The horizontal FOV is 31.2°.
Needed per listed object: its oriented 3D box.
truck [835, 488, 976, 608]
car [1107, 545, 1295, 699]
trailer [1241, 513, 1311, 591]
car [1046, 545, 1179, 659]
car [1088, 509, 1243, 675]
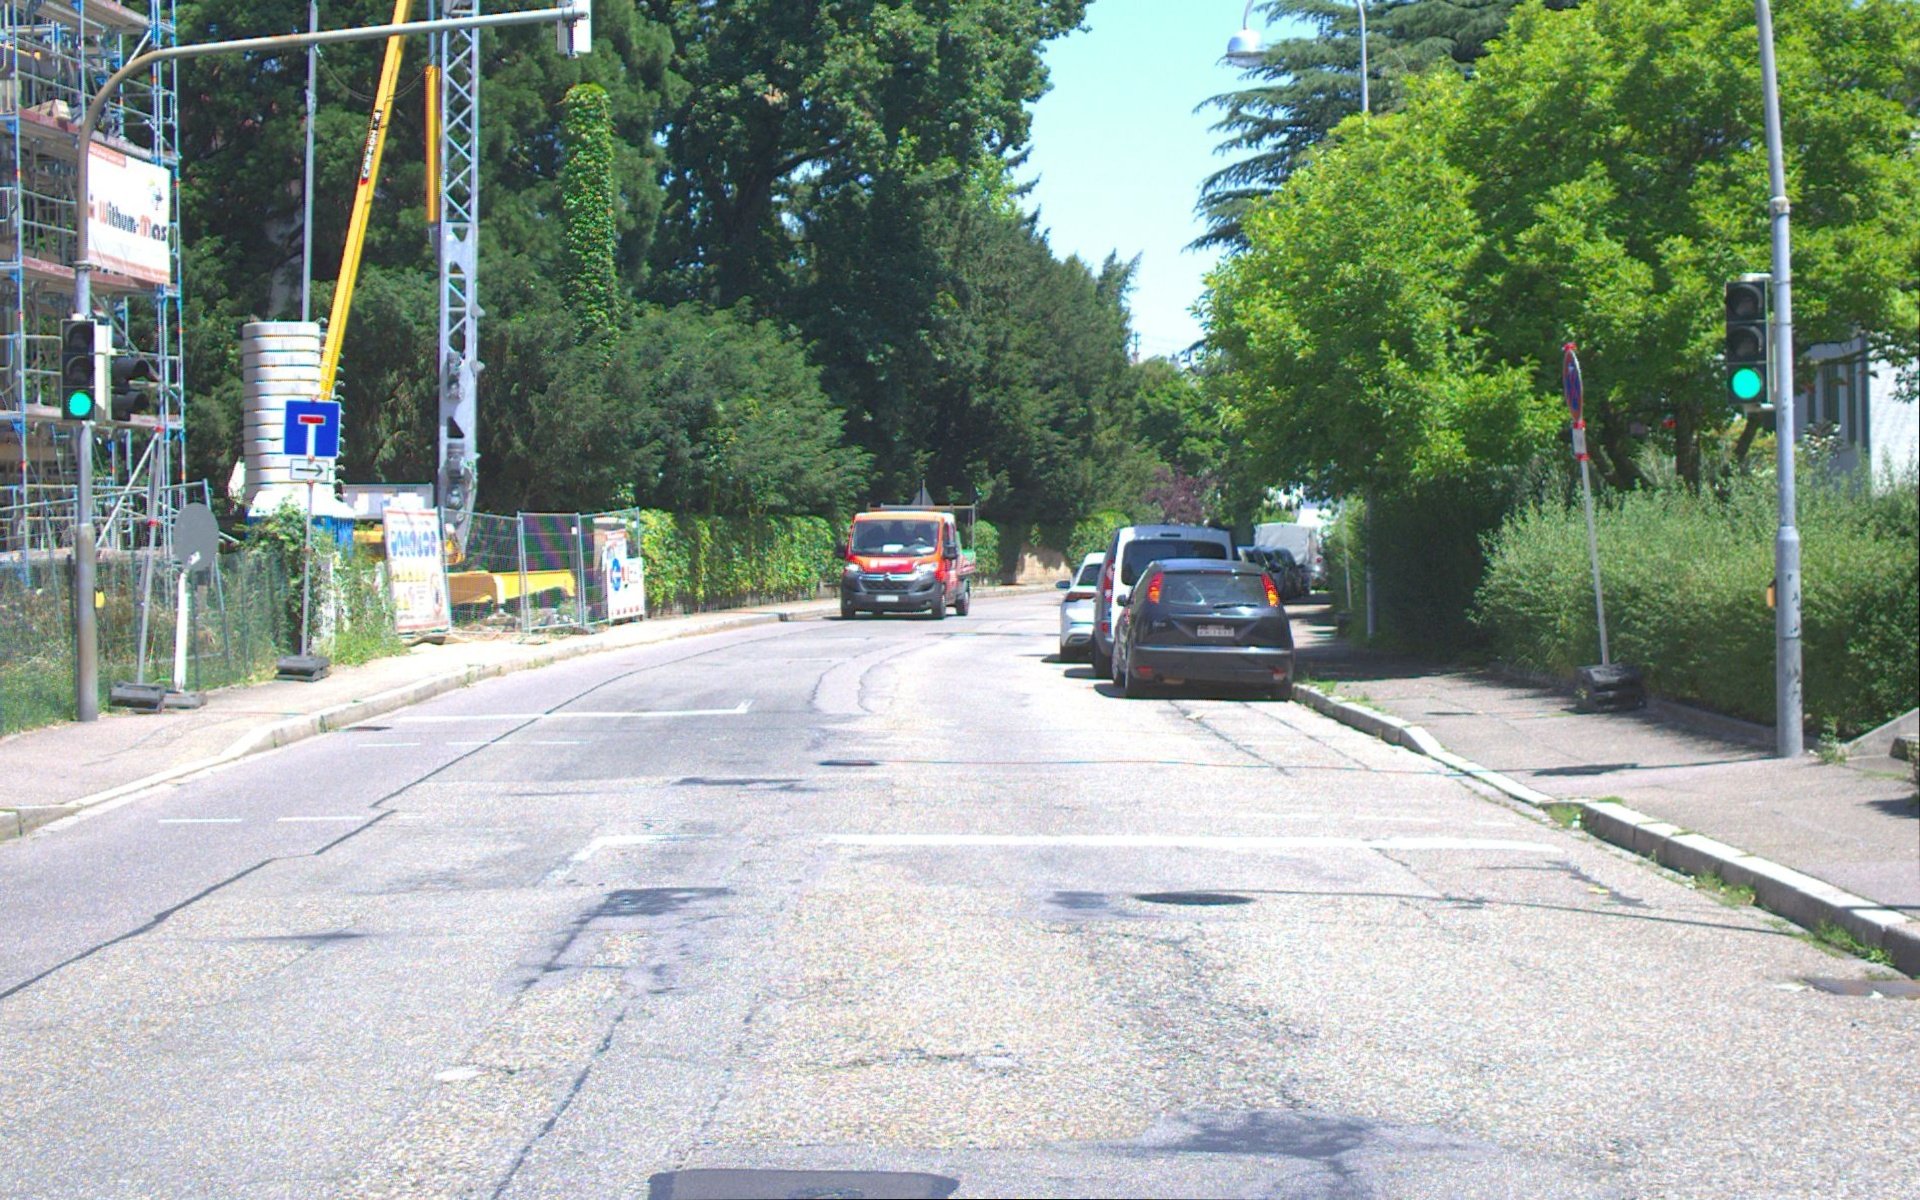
[{"bbox_3d":[-1.051,-1.095,70.444,2.128,2.331,6.433,1,1,6],"label":"truck"},{"bbox_3d":[2.491,0.184,36.281,1.628,1.458,4.016,2,1,0],"label":"car"},{"bbox_3d":[8.761,-1.351,95.141,1.680,2.061,3.707,2,2,9],"label":"trailer"},{"bbox_3d":[2.096,-0.008,46.445,1.662,1.430,4.128,2,1,4],"label":"car"},{"bbox_3d":[2.400,-0.123,40.959,1.662,1.797,4.203,3,1,2],"label":"car"}]
